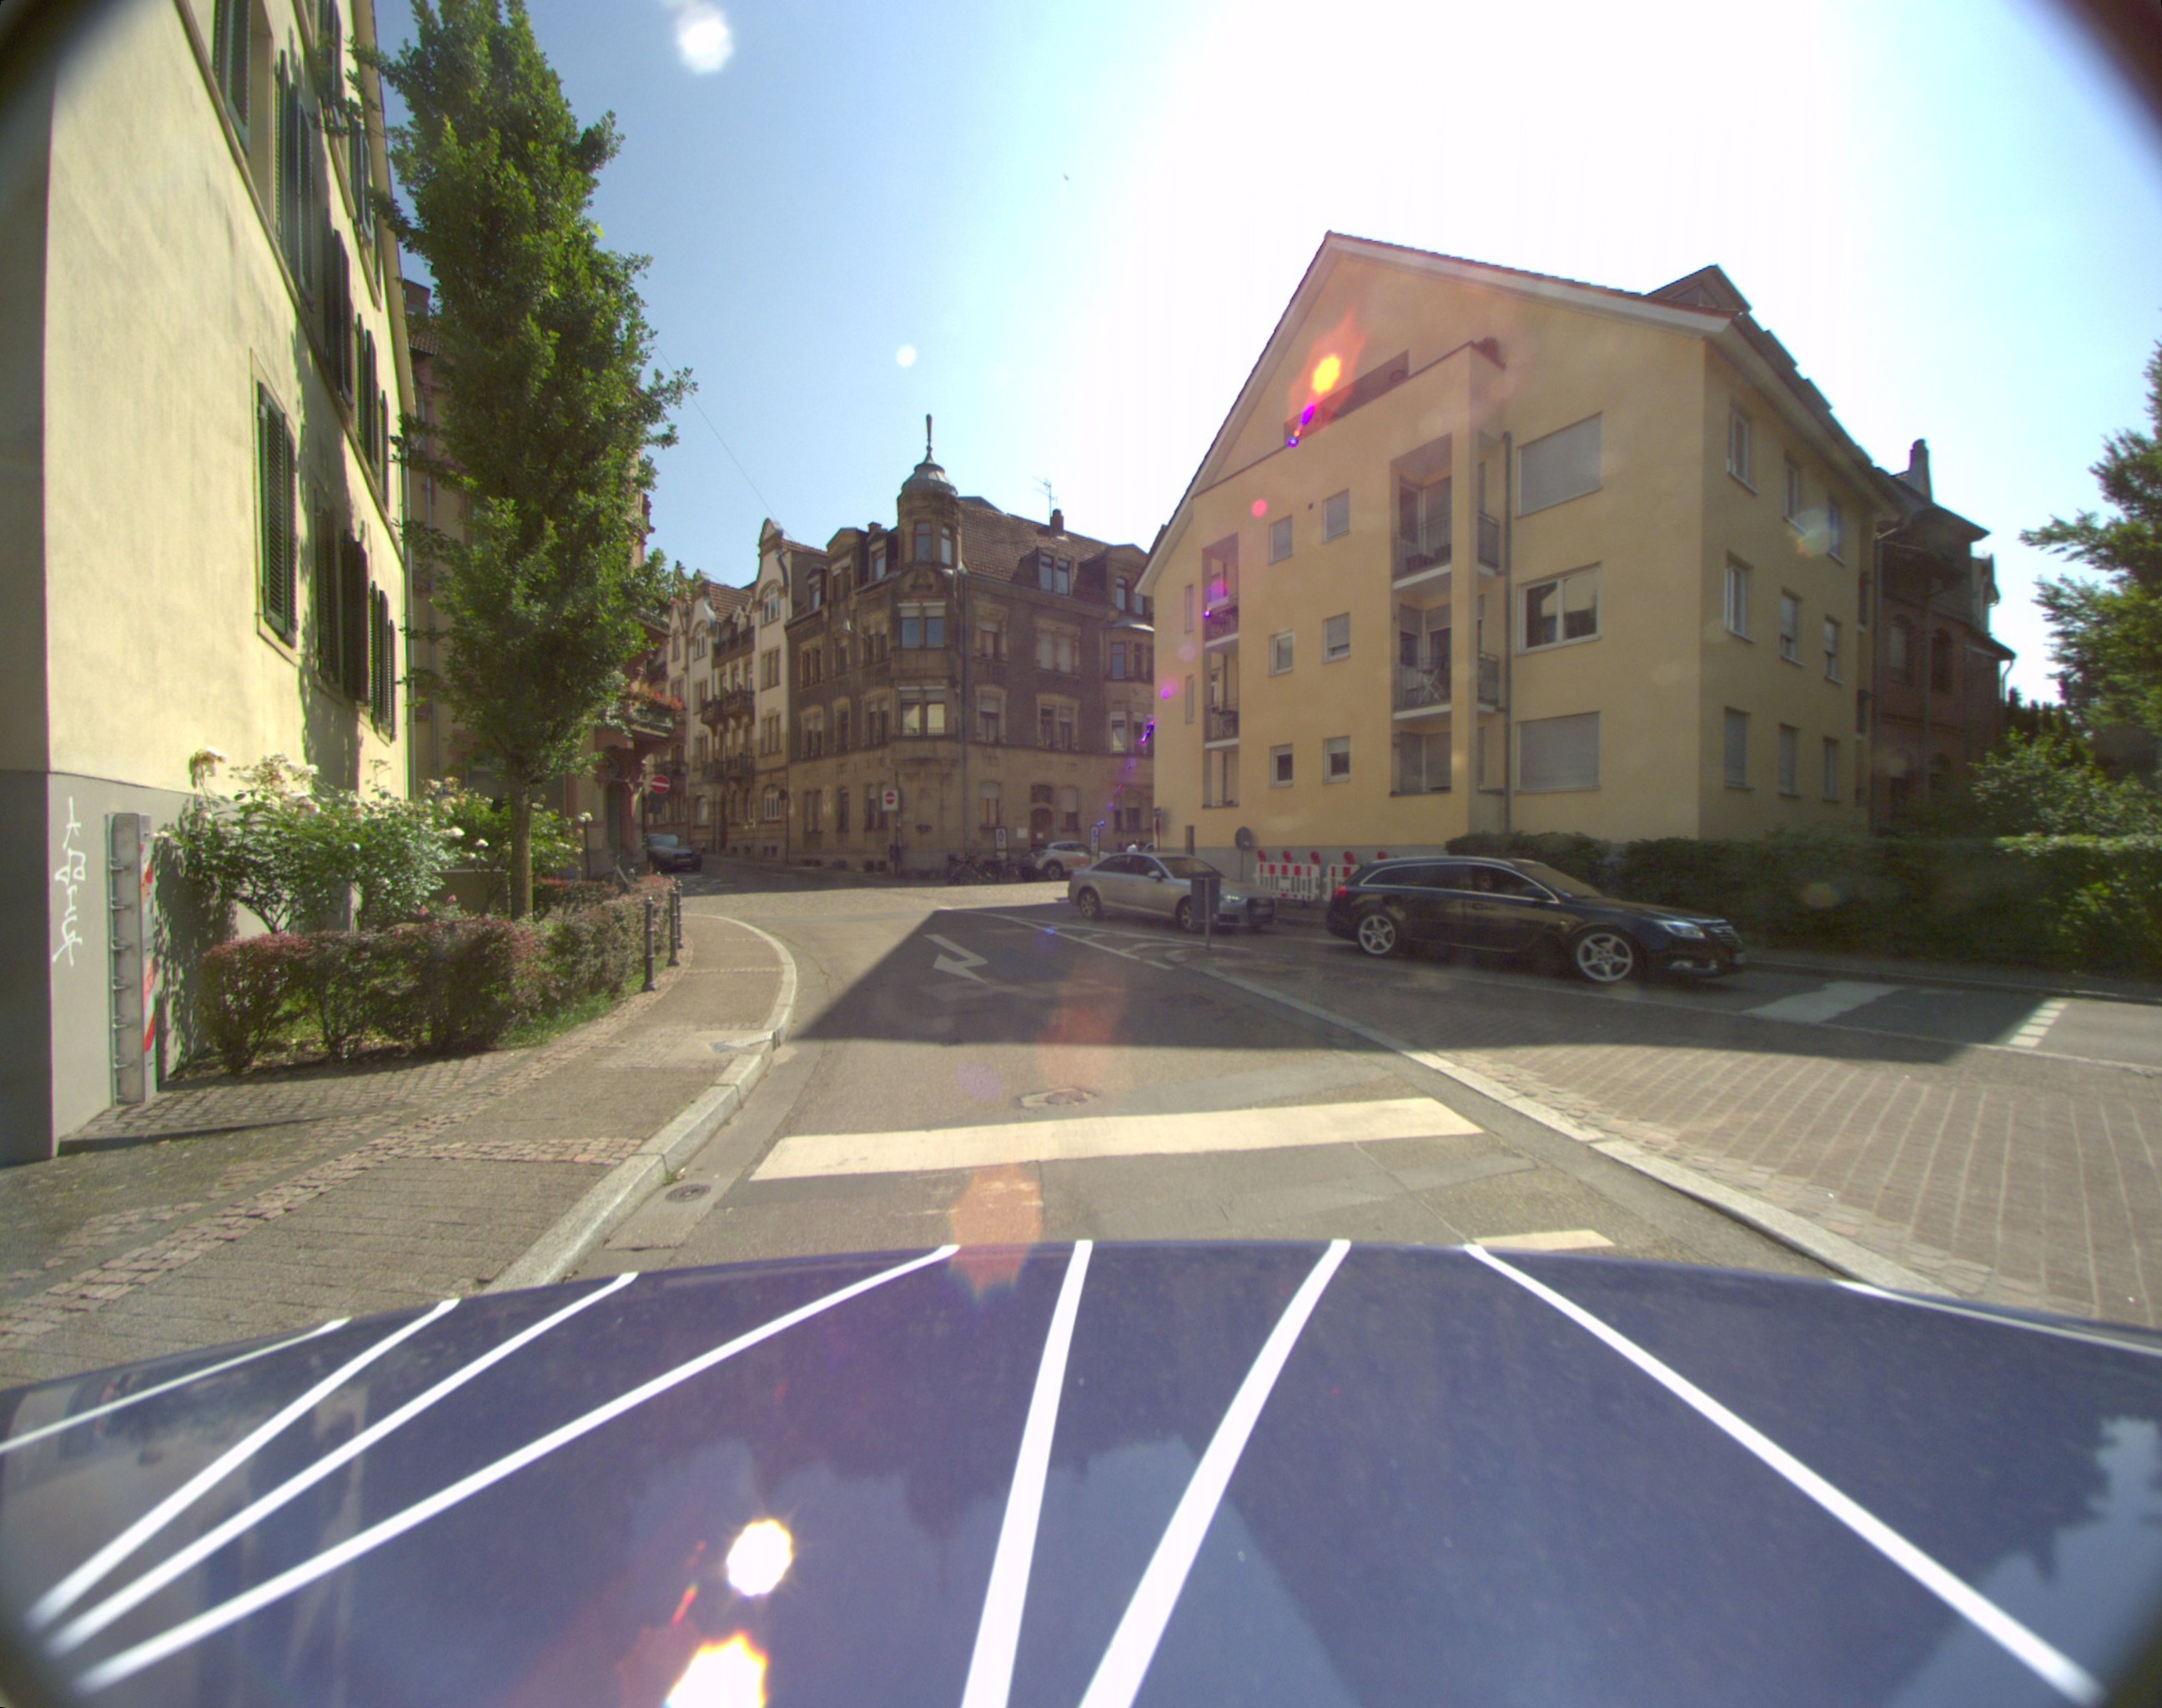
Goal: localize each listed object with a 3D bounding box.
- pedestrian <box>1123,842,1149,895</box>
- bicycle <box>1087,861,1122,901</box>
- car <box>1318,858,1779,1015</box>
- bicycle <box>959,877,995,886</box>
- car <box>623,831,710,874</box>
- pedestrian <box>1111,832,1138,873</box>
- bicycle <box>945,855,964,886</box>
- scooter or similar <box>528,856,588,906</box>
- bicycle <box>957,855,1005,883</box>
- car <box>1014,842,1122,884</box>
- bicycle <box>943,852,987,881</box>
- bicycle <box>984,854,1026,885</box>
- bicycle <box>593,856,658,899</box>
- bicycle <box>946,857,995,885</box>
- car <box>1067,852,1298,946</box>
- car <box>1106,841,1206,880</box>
[{"bbox_3d":[1.724,0.450,23.679,0.658,1.609,0.492,-1,2,-24],"label":"pedestrian"},{"bbox_3d":[0.665,0.776,22.550,0.392,1.073,1.906,0,1,-19],"label":"bicycle"},{"bbox_3d":[5.617,0.832,9.767,1.723,1.453,4.711,2,0,-38],"label":"car"},{"bbox_3d":[-3.787,0.999,27.663,1.080,0.286,1.121,0,1,-22],"label":"bicycle"},{"bbox_3d":[-17.206,-0.127,31.485,4.246,1.574,1.866,3,5,43],"label":"car"},{"bbox_3d":[1.955,-0.078,33.981,0.982,1.749,0.621,-2,6,-37],"label":"pedestrian"},{"bbox_3d":[-4.601,0.582,27.561,0.286,1.080,1.639,-4,3,-22],"label":"bicycle"},{"bbox_3d":[-13.573,0.687,19.745,0.441,1.228,1.193,1,2,40],"label":"scooter or similar"},{"bbox_3d":[-3.719,0.552,28.284,1.637,1.084,0.285,2,46,43],"label":"bicycle"},{"bbox_3d":[-0.483,0.296,29.991,3.936,1.535,1.847,-1,1,-37],"label":"car"},{"bbox_3d":[-4.556,0.464,29.949,1.645,1.080,0.494,0,5,-36],"label":"bicycle"},{"bbox_3d":[-2.810,0.588,28.092,1.638,1.079,0.286,-2,-2,26],"label":"bicycle"},{"bbox_3d":[-12.788,0.637,21.318,1.789,1.140,0.506,1,1,18],"label":"bicycle"},{"bbox_3d":[-4.070,0.627,27.932,1.637,1.084,0.285,2,46,43],"label":"bicycle"},{"bbox_3d":[1.809,0.739,14.833,1.881,1.484,4.370,-1,1,-38],"label":"car"},{"bbox_3d":[3.252,0.246,32.586,4.007,1.535,1.848,-2,1,-35],"label":"car"}]
